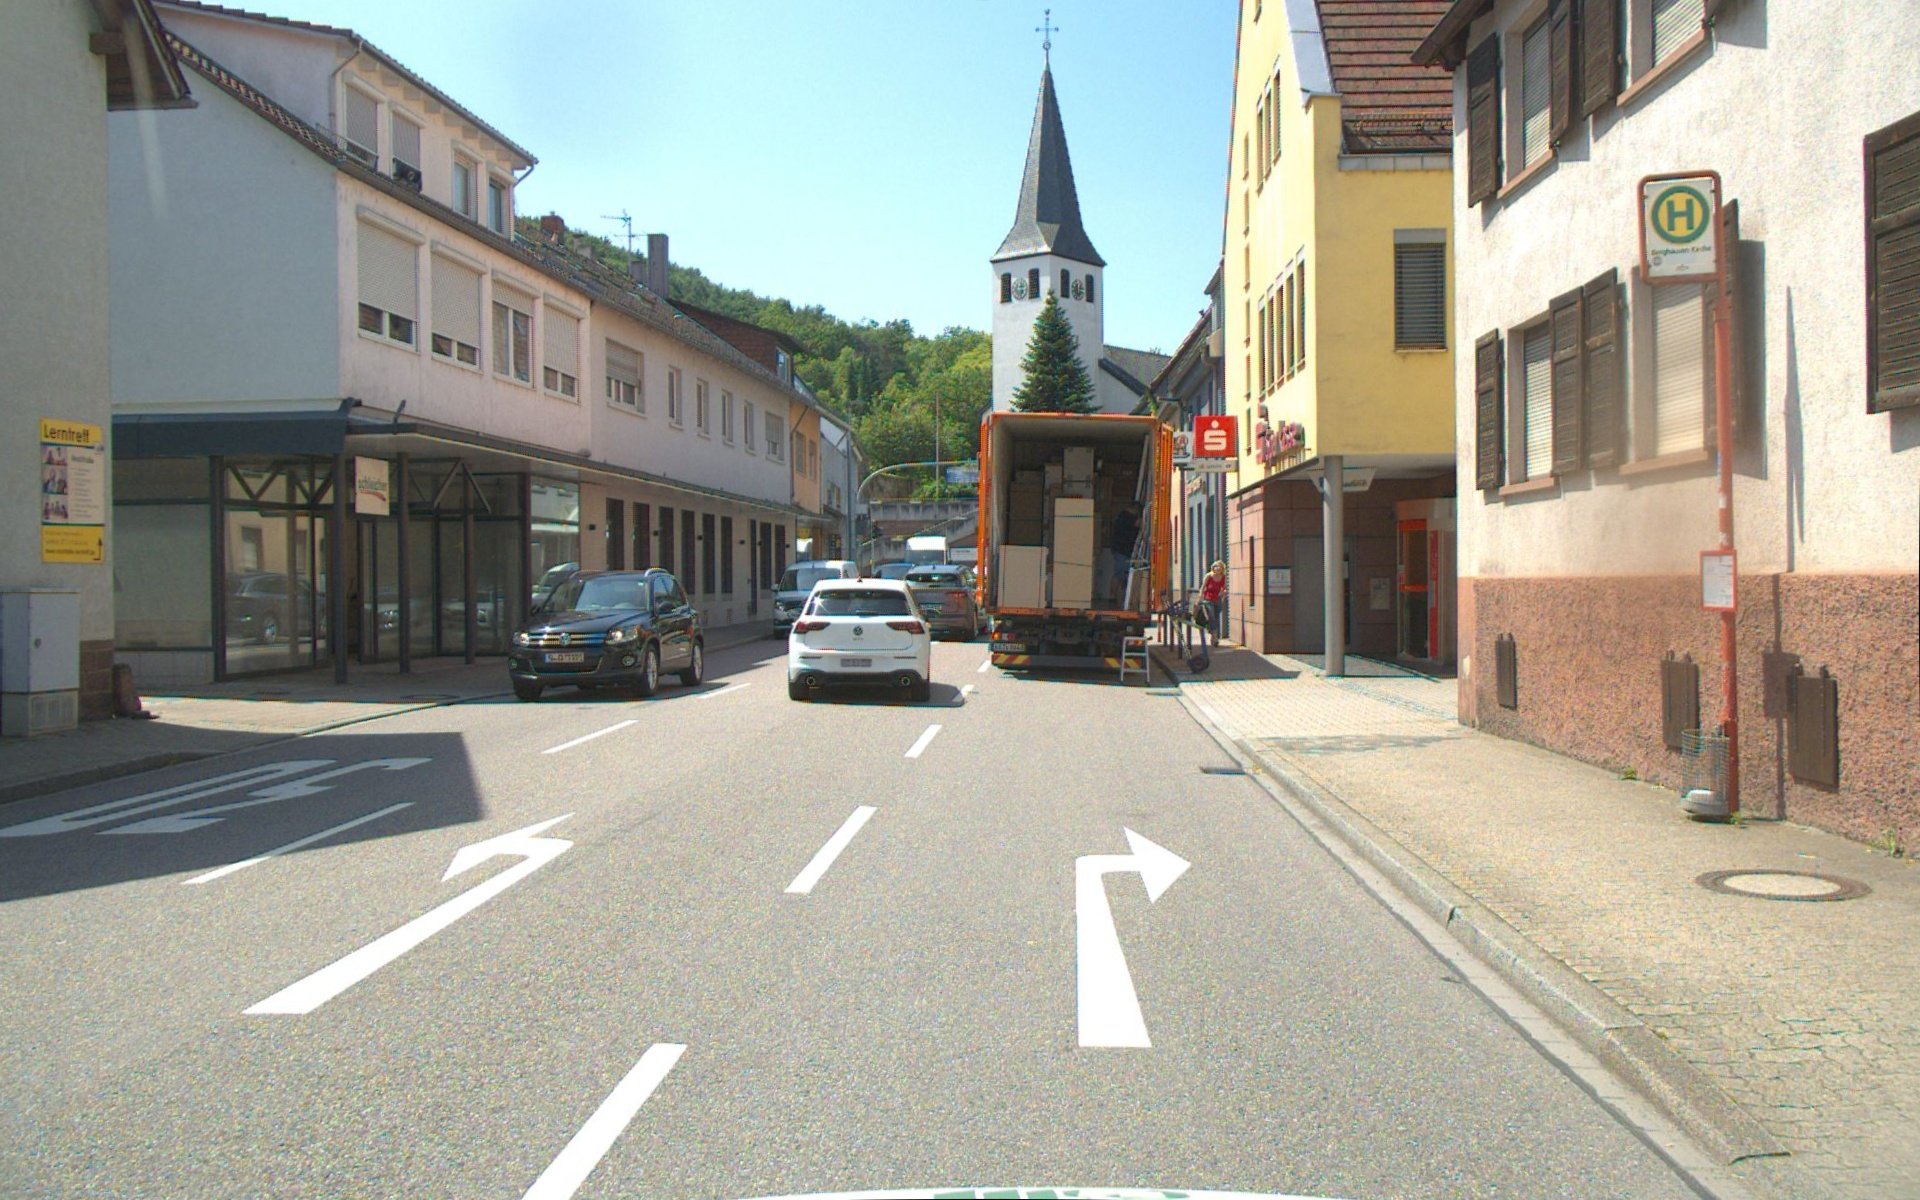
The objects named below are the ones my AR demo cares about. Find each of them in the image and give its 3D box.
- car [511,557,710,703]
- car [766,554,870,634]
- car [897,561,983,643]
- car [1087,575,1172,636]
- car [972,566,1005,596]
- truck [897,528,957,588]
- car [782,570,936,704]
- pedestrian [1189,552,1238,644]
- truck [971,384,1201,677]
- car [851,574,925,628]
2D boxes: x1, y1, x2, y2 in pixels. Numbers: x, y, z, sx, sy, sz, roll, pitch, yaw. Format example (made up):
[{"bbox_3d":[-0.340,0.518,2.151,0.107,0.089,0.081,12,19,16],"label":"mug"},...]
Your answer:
[{"bbox_3d":[-4.576,0.314,22.217,1.656,1.728,4.113,-2,2,1],"label":"car"},{"bbox_3d":[-3.431,-0.192,40.829,1.763,1.811,4.708,-2,1,4],"label":"car"},{"bbox_3d":[-0.460,0.046,36.910,1.778,1.657,3.999,-2,0,-1],"label":"car"},{"bbox_3d":[4.583,0.149,45.130,1.778,1.545,3.999,-2,0,-1],"label":"car"},{"bbox_3d":[1.565,-1.030,91.101,1.725,1.524,4.000,-2,0,0],"label":"car"},{"bbox_3d":[-1.449,-1.841,74.857,2.073,2.517,5.739,-2,0,5],"label":"truck"},{"bbox_3d":[-1.209,0.432,21.175,1.778,1.545,3.999,0,0,-1],"label":"car"},{"bbox_3d":[4.980,-0.042,32.571,0.753,1.773,0.870,-2,0,-3],"label":"pedestrian"},{"bbox_3d":[1.958,-1.035,29.299,3.297,4.243,9.520,-2,0,1],"label":"truck"},{"bbox_3d":[-2.388,0.025,55.642,1.951,1.680,4.002,-2,0,5],"label":"car"}]
